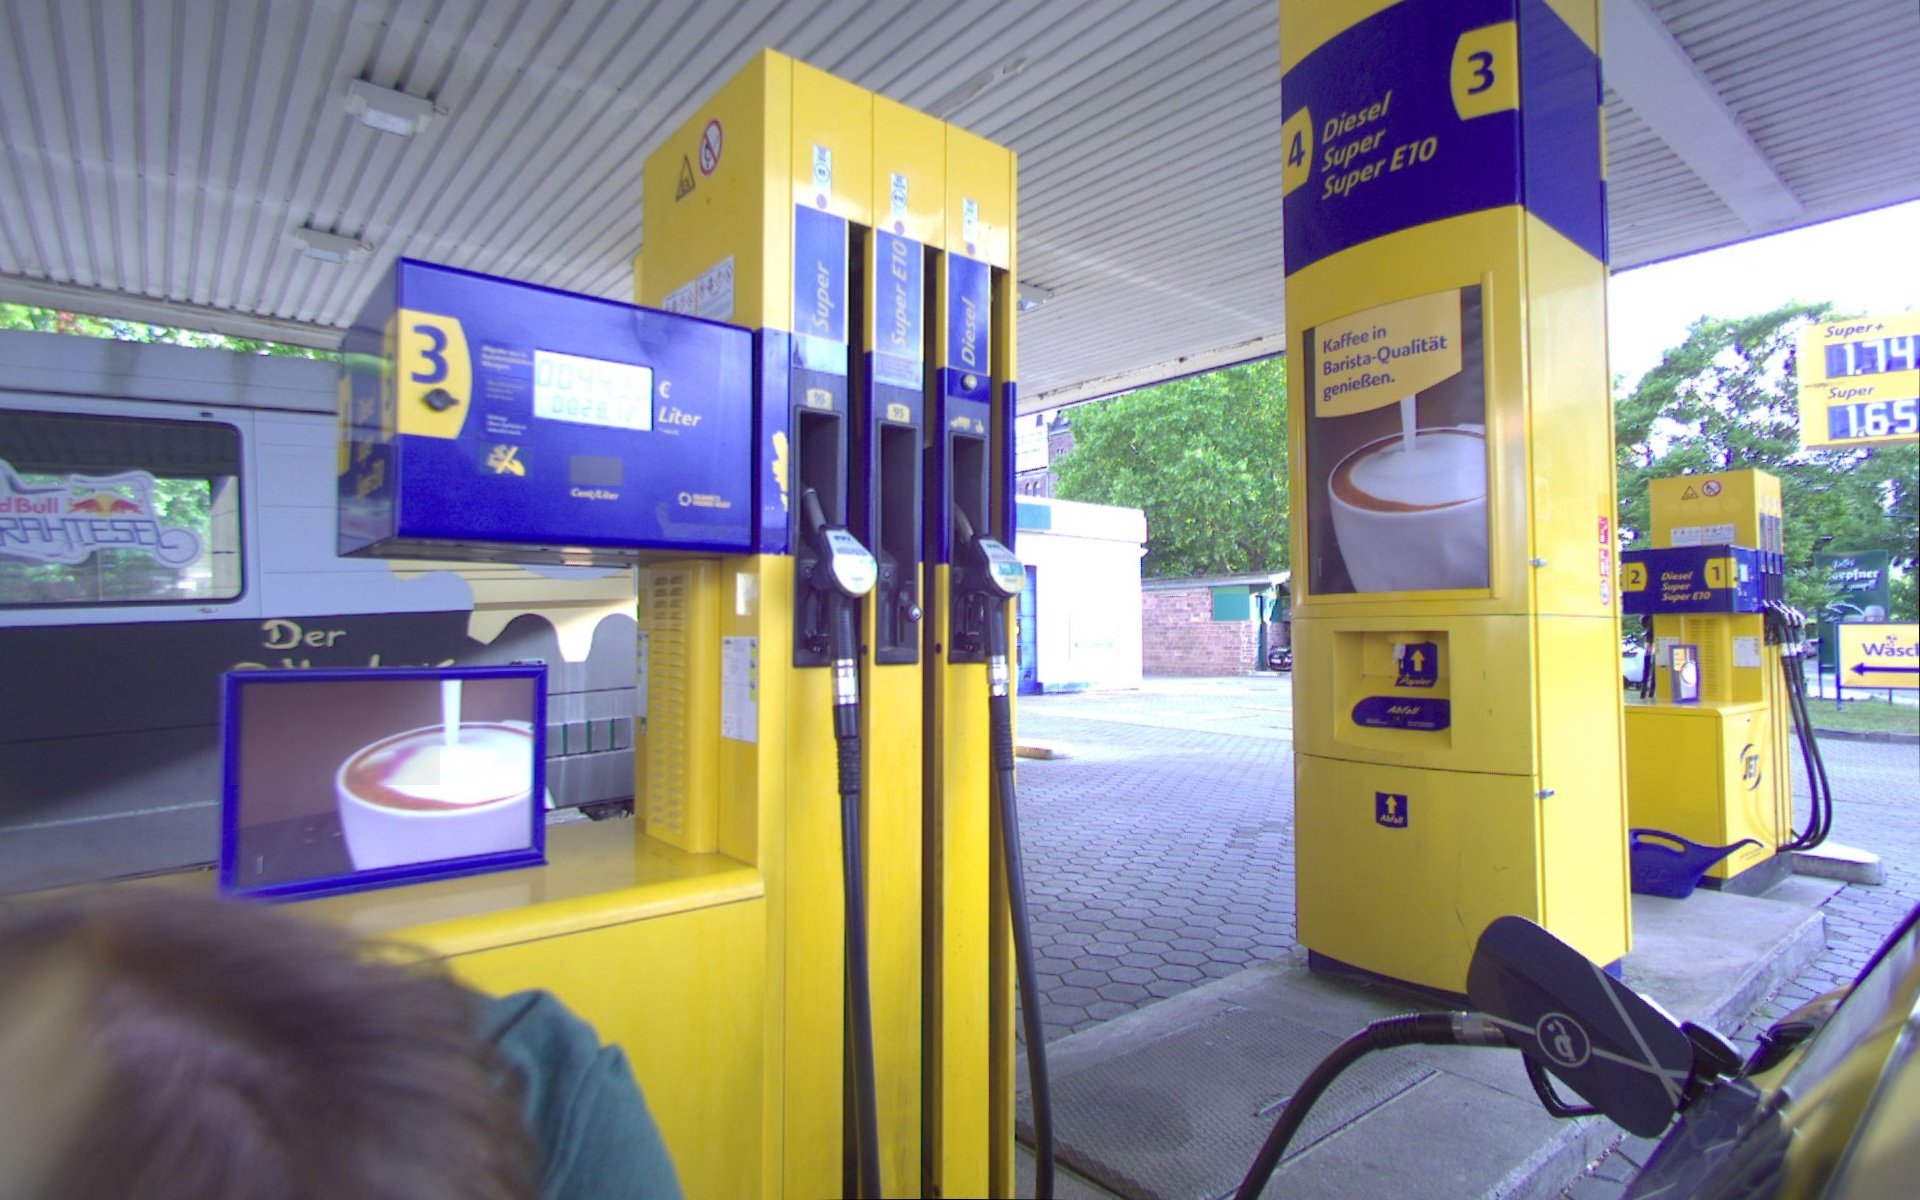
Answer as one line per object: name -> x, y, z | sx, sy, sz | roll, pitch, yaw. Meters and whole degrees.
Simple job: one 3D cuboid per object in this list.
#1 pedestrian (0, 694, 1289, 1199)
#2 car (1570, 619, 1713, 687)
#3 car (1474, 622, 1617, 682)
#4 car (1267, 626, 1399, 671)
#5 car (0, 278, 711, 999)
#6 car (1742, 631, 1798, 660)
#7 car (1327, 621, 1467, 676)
pedestrian -> -0.332, 0.751, 0.549 | 0.662, 1.298, 0.751 | 0, 0, -41
car -> 18.360, 1.449, 27.204 | 4.308, 1.622, 1.774 | 4, -4, -35
car -> 17.850, 1.592, 30.803 | 4.303, 1.622, 1.776 | 4, -4, -28
car -> 12.694, 1.655, 34.430 | 4.303, 1.393, 1.777 | 2, -1, -28
car -> -4.107, 0.163, 4.896 | 5.197, 2.726, 2.258 | 1, -2, -39
car -> 43.448, 2.398, 54.358 | 1.674, 1.491, 3.773 | 0, -2, 28
car -> 13.890, 1.533, 32.139 | 4.303, 1.622, 1.777 | 2, -1, -28
